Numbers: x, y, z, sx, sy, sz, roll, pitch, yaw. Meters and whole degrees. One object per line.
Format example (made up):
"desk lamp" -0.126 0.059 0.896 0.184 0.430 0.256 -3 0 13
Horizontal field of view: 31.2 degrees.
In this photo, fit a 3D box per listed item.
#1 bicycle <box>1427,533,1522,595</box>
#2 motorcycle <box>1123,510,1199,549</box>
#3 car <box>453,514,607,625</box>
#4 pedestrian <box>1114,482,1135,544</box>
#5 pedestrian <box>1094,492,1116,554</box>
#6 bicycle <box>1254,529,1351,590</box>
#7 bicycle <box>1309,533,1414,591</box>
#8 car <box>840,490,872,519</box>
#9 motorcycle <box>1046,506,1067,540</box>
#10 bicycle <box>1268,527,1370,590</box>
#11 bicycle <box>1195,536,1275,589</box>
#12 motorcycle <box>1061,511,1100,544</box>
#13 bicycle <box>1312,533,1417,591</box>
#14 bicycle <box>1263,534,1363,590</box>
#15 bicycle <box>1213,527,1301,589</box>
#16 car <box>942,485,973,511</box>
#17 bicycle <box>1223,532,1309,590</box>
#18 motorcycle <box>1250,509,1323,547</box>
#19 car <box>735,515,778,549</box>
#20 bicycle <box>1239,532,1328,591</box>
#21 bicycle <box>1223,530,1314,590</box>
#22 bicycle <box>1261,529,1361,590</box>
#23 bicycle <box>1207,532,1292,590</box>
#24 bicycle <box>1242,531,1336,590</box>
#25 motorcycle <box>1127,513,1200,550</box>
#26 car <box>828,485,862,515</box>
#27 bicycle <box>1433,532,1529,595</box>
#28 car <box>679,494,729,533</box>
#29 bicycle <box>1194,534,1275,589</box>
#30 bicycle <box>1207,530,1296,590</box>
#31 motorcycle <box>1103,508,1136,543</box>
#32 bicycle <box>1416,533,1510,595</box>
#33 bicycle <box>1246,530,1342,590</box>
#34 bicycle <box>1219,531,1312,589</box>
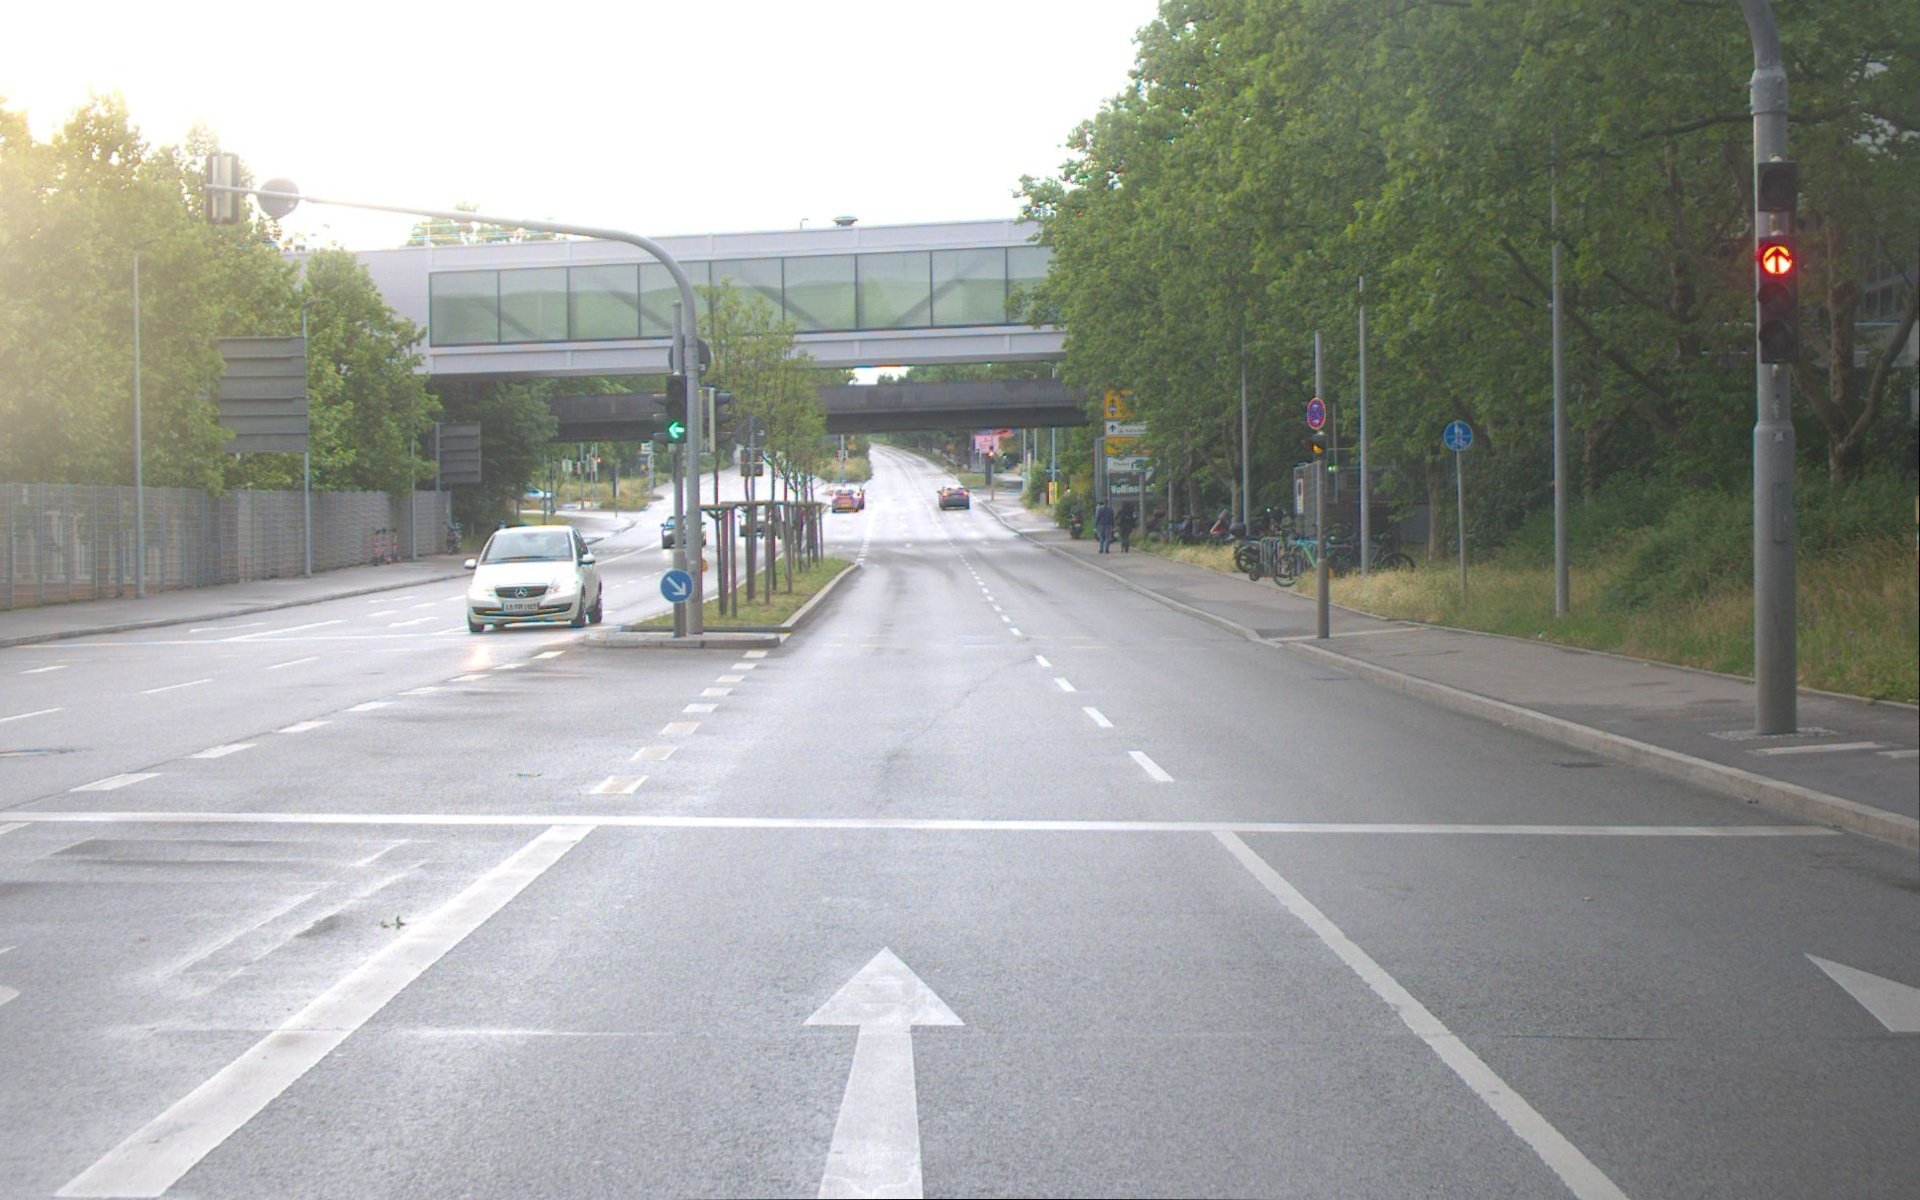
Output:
"bicycle" 11.327 -0.792 75.733 1.990 1.324 0.576 2 0 1
"motorcycle" 6.522 -2.284 111.657 2.369 1.198 0.722 -1 1 8
"car" -6.650 -0.497 53.504 1.877 1.619 3.779 -1 1 0
"pedestrian" 5.362 -2.824 111.980 0.622 2.007 0.605 -2 1 0
"pedestrian" 4.734 -2.513 112.338 0.622 2.007 0.605 -2 1 0
"bicycle" 7.310 -0.859 73.355 1.990 1.237 0.541 2 0 1
"bicycle" 7.956 -0.749 68.197 1.990 1.091 0.541 2 0 1
"car" -6.851 -6.276 226.625 1.884 1.756 3.969 2 0 0
"motorcycle" 4.452 -3.557 158.556 0.790 1.528 2.377 -2 1 -2
"bicycle" 7.270 -0.834 69.662 1.990 1.212 0.541 2 0 1
"bicycle" 7.064 -0.965 88.375 1.963 1.324 0.654 2 0 1
"motorcycle" 4.864 -2.940 139.224 0.790 1.307 2.377 -2 1 -18
"bicycle" 7.956 -0.747 67.629 1.990 1.091 0.541 2 0 1
"bicycle" 7.314 -0.786 71.270 1.990 1.091 0.541 2 0 1
"bicycle" 7.012 -0.991 81.338 1.990 1.425 0.723 2 0 1
"car" -0.135 -6.456 216.905 1.875 1.492 4.068 2 0 0
"bicycle" 7.310 -0.936 82.190 1.990 1.324 0.576 2 0 1
"motorcycle" 10.934 -2.400 115.170 2.369 1.198 0.722 -1 1 8
"car" -9.985 -3.367 169.068 1.877 1.619 3.779 -1 1 0
"bicycle" 7.578 -0.911 80.597 1.990 1.324 0.576 2 0 1
"bicycle" 7.070 -0.918 78.852 1.990 1.324 0.576 2 0 1
"bicycle" 7.331 -0.849 71.851 1.990 1.229 0.541 2 0 1
"bicycle" 6.981 -0.935 82.904 1.990 1.324 0.576 2 0 1
"bicycle" 7.236 -0.870 75.571 1.990 1.237 0.541 2 0 1
"motorcycle" 6.826 -2.300 115.314 2.369 1.198 0.722 -1 1 8
"car" -7.334 -6.423 220.345 1.993 1.756 4.000 2 0 0
"bicycle" 11.347 -0.789 74.919 1.990 1.324 0.576 2 0 1
"car" -11.227 -3.796 151.211 1.877 1.619 3.779 -1 1 0
"bicycle" 6.907 -0.962 86.434 1.963 1.324 0.654 2 0 1
"bicycle" 6.744 -0.929 79.664 1.990 1.324 0.576 2 0 1
"motorcycle" 6.230 -2.899 134.183 0.790 1.307 2.377 -2 1 -8
"bicycle" 11.239 -0.799 76.900 1.990 1.324 0.576 2 0 1
"bicycle" 7.242 -0.866 74.622 1.990 1.237 0.541 2 0 1
"bicycle" 6.834 -0.885 76.948 1.990 1.237 0.541 2 0 1
